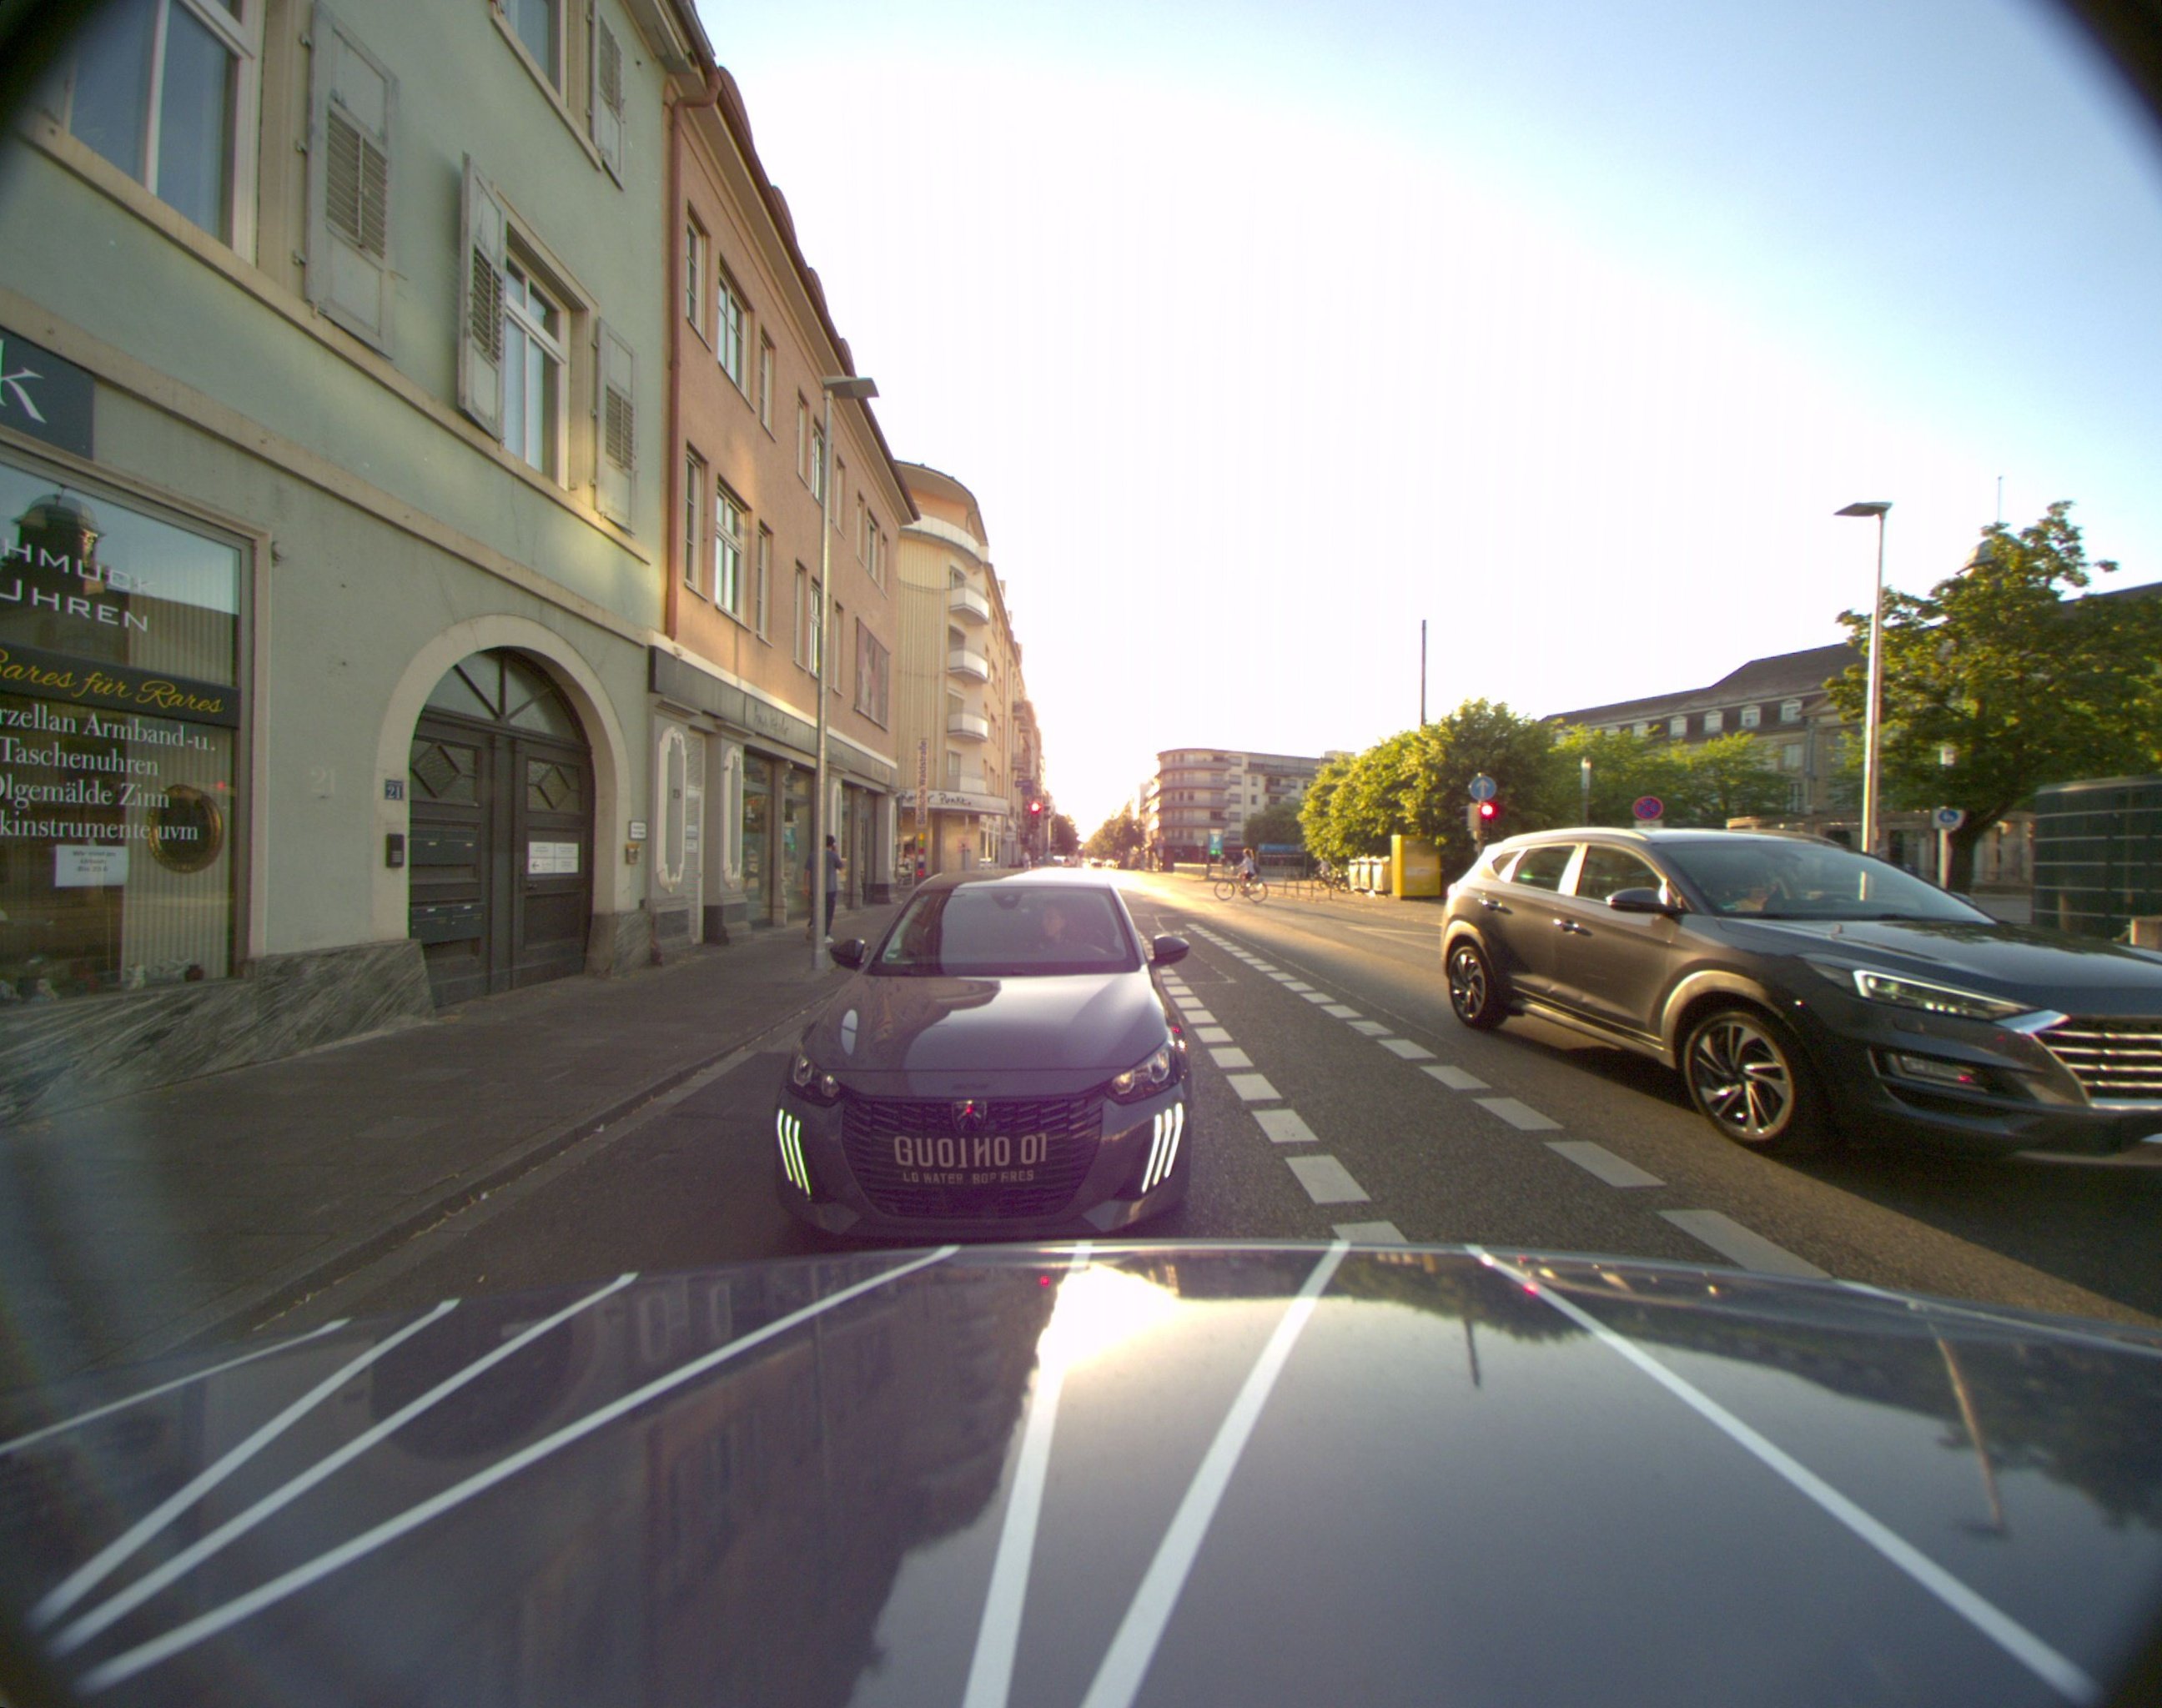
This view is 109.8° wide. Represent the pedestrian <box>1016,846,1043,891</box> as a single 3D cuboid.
[{"bbox_3d":[-2.101,0.587,30.907,0.827,1.806,0.870,1,0,-20],"label":"pedestrian"}]

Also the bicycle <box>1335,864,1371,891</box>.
[{"bbox_3d":[13.199,1.136,36.846,1.590,1.245,0.445,-1,0,-2],"label":"bicycle"}]

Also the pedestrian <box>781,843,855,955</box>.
[{"bbox_3d":[-4.009,0.667,11.652,0.825,1.632,0.871,1,0,-2],"label":"pedestrian"}]

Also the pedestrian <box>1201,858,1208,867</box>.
[{"bbox_3d":[18.117,1.232,111.747,0.689,1.314,0.819,0,0,-24],"label":"pedestrian"}]

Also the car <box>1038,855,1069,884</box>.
[{"bbox_3d":[-1.633,0.884,44.773,1.702,1.607,4.682,0,0,-2],"label":"car"}]

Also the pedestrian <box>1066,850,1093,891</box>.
[{"bbox_3d":[-0.071,0.675,31.503,0.789,1.643,0.782,1,1,43],"label":"pedestrian"}]

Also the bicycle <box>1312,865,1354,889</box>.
[{"bbox_3d":[13.156,1.196,39.689,2.031,1.245,0.548,-1,0,-4],"label":"bicycle"}]

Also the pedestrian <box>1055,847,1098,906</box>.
[{"bbox_3d":[-0.132,0.668,23.358,1.098,1.764,0.827,1,0,16],"label":"pedestrian"}]

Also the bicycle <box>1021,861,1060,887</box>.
[{"bbox_3d":[-1.943,0.964,36.487,1.788,1.166,0.622,2,0,-11],"label":"bicycle"}]

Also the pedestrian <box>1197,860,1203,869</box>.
[{"bbox_3d":[17.429,1.494,111.263,0.732,1.314,0.889,0,0,-1],"label":"pedestrian"}]

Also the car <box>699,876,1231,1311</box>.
[{"bbox_3d":[-0.423,0.928,4.962,1.908,1.438,4.449,0,0,0],"label":"car"}]

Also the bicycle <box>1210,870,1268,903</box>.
[{"bbox_3d":[5.539,1.129,26.668,1.917,1.111,0.706,1,0,17],"label":"bicycle"}]

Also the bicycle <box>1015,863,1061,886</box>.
[{"bbox_3d":[-2.122,1.012,37.439,2.176,1.069,0.805,2,0,-7],"label":"bicycle"}]

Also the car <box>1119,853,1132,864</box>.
[{"bbox_3d":[7.925,0.787,135.599,1.999,1.805,3.999,1,0,-2],"label":"car"}]

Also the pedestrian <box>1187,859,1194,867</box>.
[{"bbox_3d":[15.810,1.349,109.824,0.887,1.185,0.733,0,0,9],"label":"pedestrian"}]

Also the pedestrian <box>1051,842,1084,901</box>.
[{"bbox_3d":[-0.434,0.573,25.037,0.939,1.886,0.826,1,0,7],"label":"pedestrian"}]

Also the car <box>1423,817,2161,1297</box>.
[{"bbox_3d":[4.151,0.748,4.901,1.877,1.679,4.450,2,0,0],"label":"car"}]

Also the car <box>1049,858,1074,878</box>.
[{"bbox_3d":[-1.409,1.021,56.673,1.738,1.448,4.610,0,0,0],"label":"car"}]

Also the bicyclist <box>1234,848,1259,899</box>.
[{"bbox_3d":[5.806,0.673,26.582,0.777,1.714,0.856,1,0,15],"label":"bicyclist"}]

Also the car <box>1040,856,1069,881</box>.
[{"bbox_3d":[-1.739,0.927,51.051,1.821,1.611,4.203,0,0,0],"label":"car"}]

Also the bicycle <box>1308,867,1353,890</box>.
[{"bbox_3d":[12.467,1.218,37.984,2.031,1.128,0.548,-1,0,-4],"label":"bicycle"}]

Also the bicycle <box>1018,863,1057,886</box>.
[{"bbox_3d":[-2.217,1.024,38.439,1.851,1.117,0.594,2,1,-11],"label":"bicycle"}]

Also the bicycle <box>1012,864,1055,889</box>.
[{"bbox_3d":[-2.136,1.005,34.170,1.788,1.057,0.718,2,0,-11],"label":"bicycle"}]

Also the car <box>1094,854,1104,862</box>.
[{"bbox_3d":[3.651,0.847,152.460,1.790,1.458,3.956,2,0,-1],"label":"car"}]

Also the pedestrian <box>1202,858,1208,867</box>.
[{"bbox_3d":[18.183,1.306,111.377,0.732,1.314,0.888,0,0,-2],"label":"pedestrian"}]

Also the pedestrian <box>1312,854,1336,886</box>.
[{"bbox_3d":[13.983,0.915,43.729,0.828,1.806,0.950,0,1,-42],"label":"pedestrian"}]

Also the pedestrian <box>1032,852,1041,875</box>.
[{"bbox_3d":[-3.774,0.812,64.577,0.763,2.002,0.851,0,0,0],"label":"pedestrian"}]

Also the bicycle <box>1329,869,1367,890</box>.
[{"bbox_3d":[13.107,1.236,37.343,1.678,0.973,0.548,-1,0,-4],"label":"bicycle"}]

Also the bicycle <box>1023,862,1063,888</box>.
[{"bbox_3d":[-1.807,0.976,35.855,1.788,1.166,0.622,2,0,-11],"label":"bicycle"}]

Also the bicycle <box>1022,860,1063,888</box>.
[{"bbox_3d":[-1.805,0.927,35.108,1.849,1.232,0.639,1,0,-5],"label":"bicycle"}]

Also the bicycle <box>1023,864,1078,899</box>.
[{"bbox_3d":[-1.073,0.957,26.996,1.823,1.179,0.794,1,0,9],"label":"bicycle"}]

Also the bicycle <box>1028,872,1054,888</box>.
[{"bbox_3d":[-1.763,1.142,33.486,1.008,0.677,1.049,1,0,-9],"label":"bicycle"}]

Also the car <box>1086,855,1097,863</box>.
[{"bbox_3d":[2.393,1.162,168.073,1.878,1.621,4.177,3,-1,-5],"label":"car"}]

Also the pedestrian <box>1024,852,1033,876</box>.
[{"bbox_3d":[-4.445,0.822,64.193,0.673,2.002,0.851,0,1,0],"label":"pedestrian"}]

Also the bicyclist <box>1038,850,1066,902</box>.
[{"bbox_3d":[-1.025,0.757,26.996,0.835,1.815,0.831,1,0,8],"label":"bicyclist"}]
